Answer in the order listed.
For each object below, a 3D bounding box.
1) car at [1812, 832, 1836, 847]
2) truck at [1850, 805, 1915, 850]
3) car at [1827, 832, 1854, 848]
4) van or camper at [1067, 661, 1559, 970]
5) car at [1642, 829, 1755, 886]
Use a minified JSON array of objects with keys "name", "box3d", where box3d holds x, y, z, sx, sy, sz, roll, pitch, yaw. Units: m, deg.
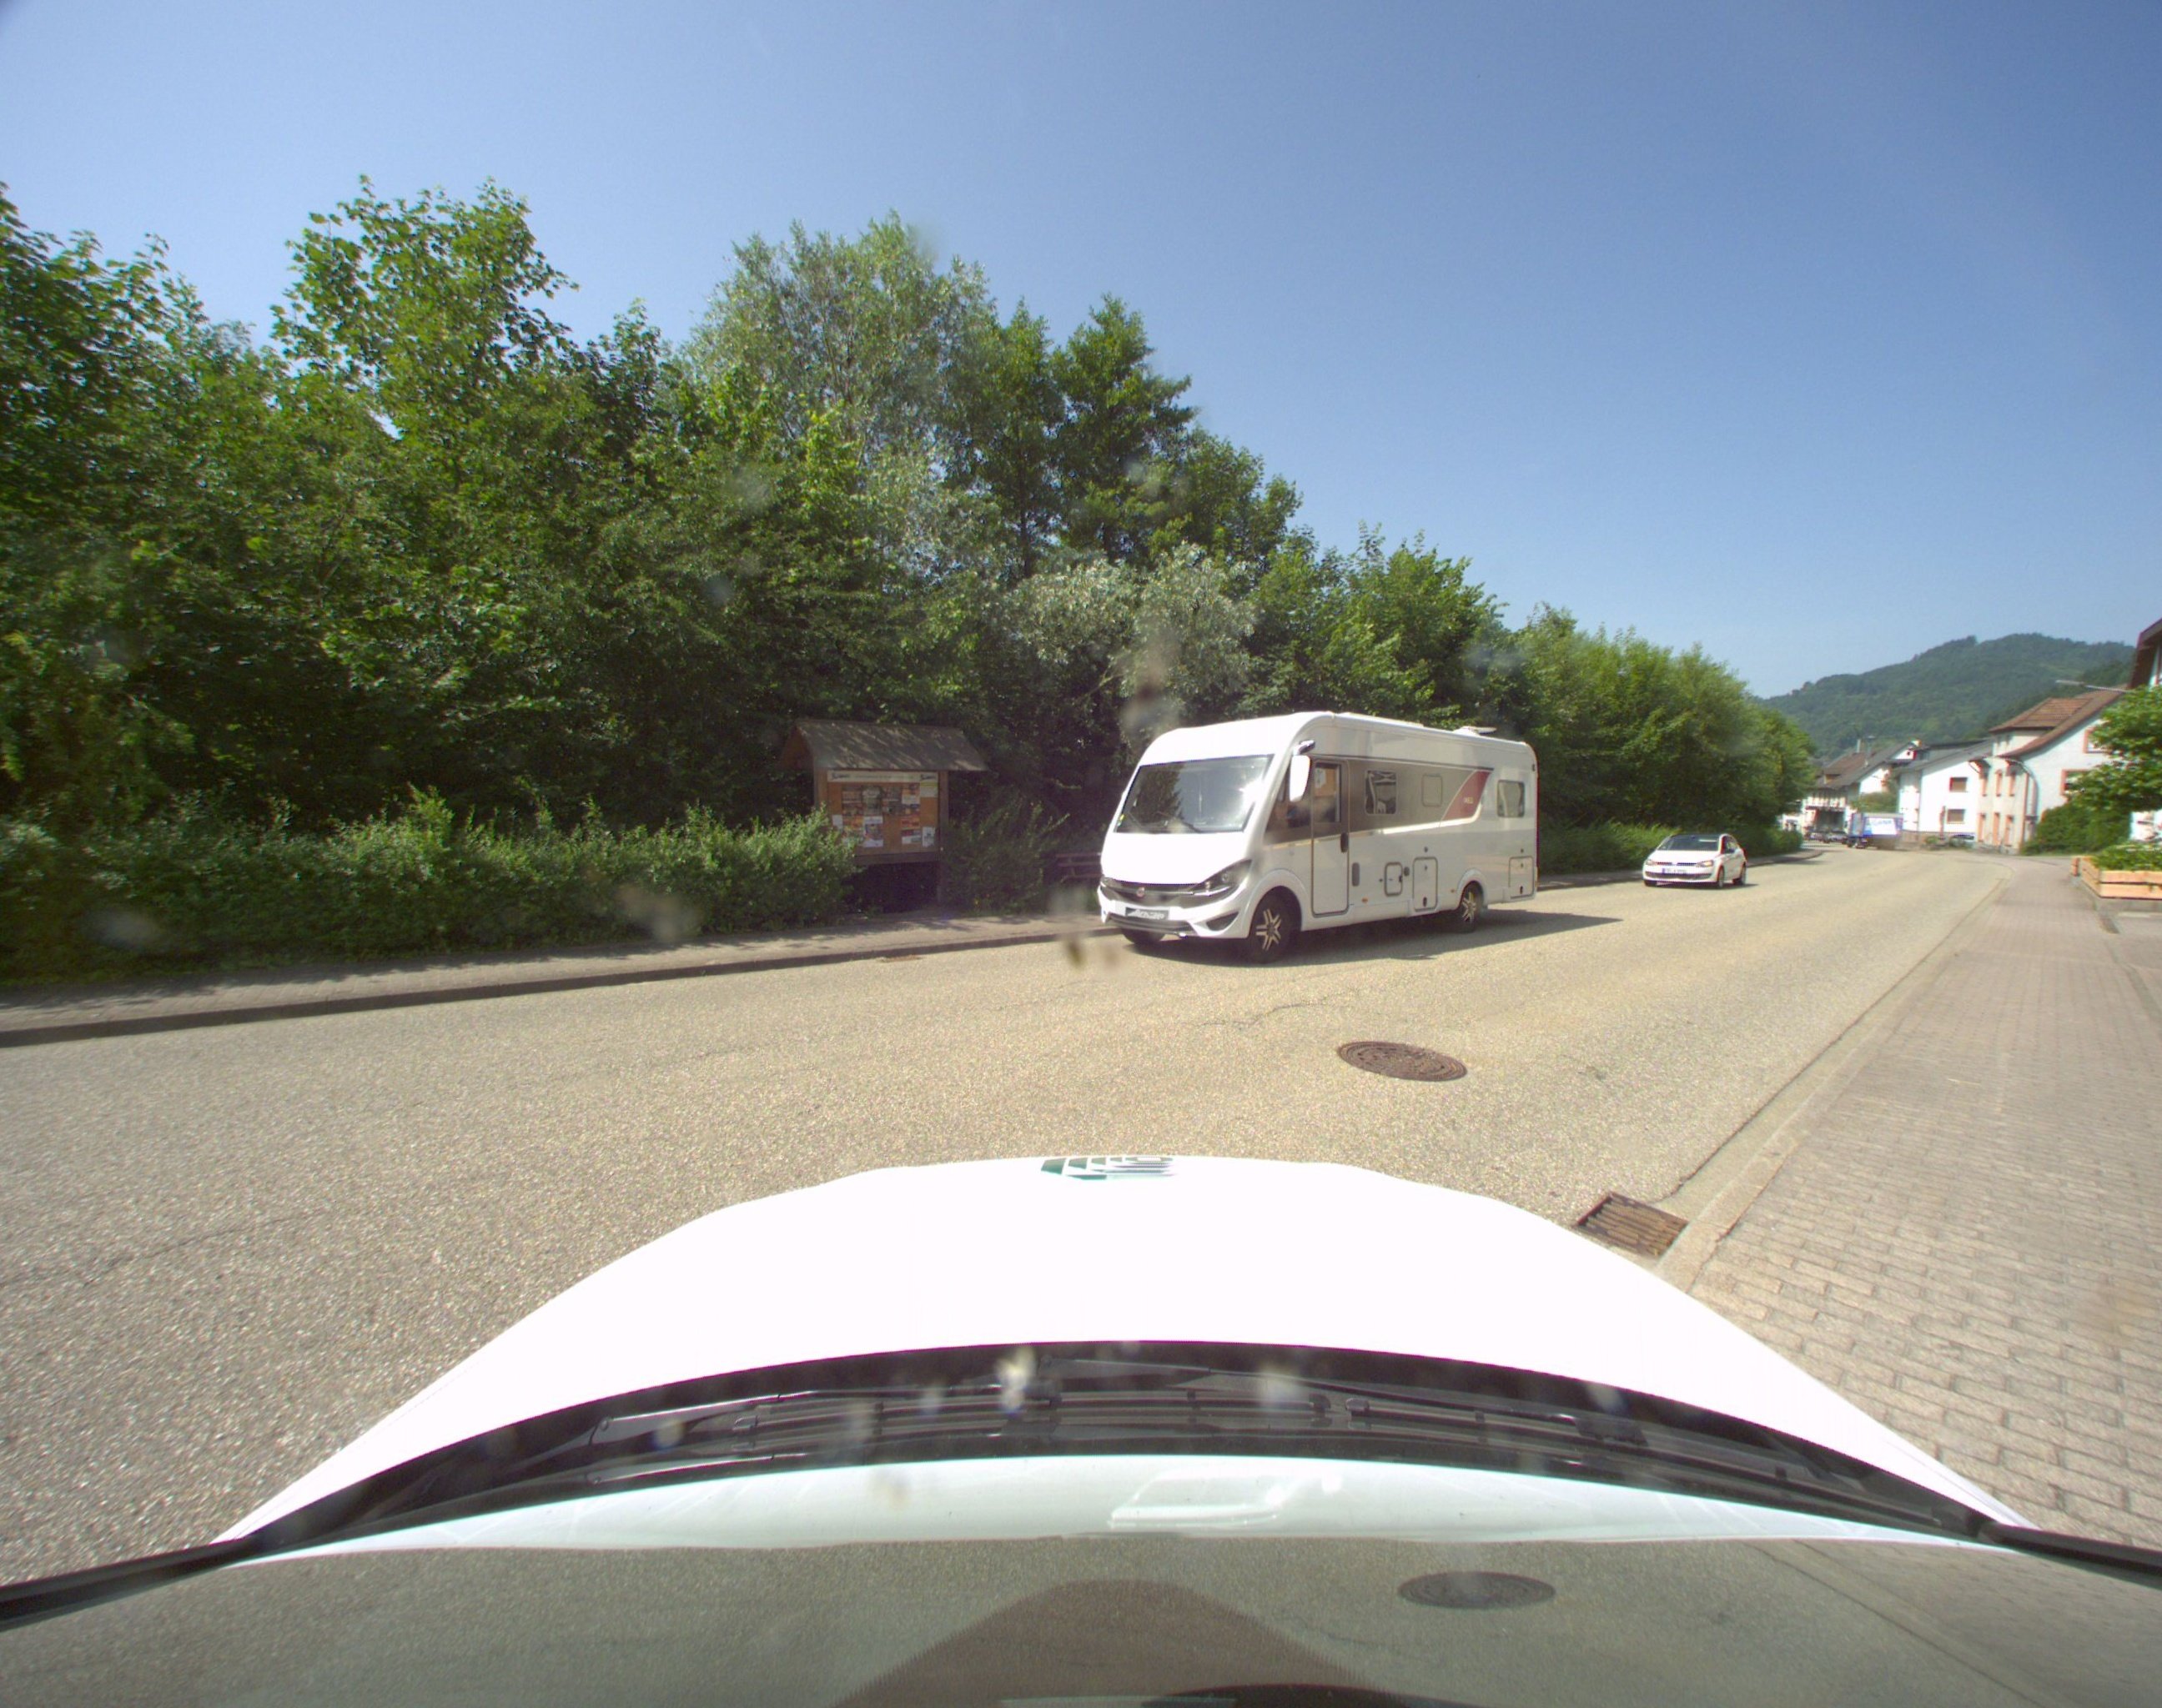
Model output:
[{"name":"car","box3d":[98.865,-1.956,108.378,1.974,1.882,4.025,-1,-1,37]},{"name":"truck","box3d":[73.640,-2.323,75.003,3.330,3.782,8.493,-1,-1,39]},{"name":"car","box3d":[88.998,-1.621,95.455,1.974,1.882,4.025,-1,-1,39]},{"name":"van or camper","box3d":[3.699,-0.462,11.271,8.092,2.952,2.339,-1,2,-39]},{"name":"car","box3d":[16.668,0.074,21.928,3.847,1.405,1.591,0,1,-40]}]
